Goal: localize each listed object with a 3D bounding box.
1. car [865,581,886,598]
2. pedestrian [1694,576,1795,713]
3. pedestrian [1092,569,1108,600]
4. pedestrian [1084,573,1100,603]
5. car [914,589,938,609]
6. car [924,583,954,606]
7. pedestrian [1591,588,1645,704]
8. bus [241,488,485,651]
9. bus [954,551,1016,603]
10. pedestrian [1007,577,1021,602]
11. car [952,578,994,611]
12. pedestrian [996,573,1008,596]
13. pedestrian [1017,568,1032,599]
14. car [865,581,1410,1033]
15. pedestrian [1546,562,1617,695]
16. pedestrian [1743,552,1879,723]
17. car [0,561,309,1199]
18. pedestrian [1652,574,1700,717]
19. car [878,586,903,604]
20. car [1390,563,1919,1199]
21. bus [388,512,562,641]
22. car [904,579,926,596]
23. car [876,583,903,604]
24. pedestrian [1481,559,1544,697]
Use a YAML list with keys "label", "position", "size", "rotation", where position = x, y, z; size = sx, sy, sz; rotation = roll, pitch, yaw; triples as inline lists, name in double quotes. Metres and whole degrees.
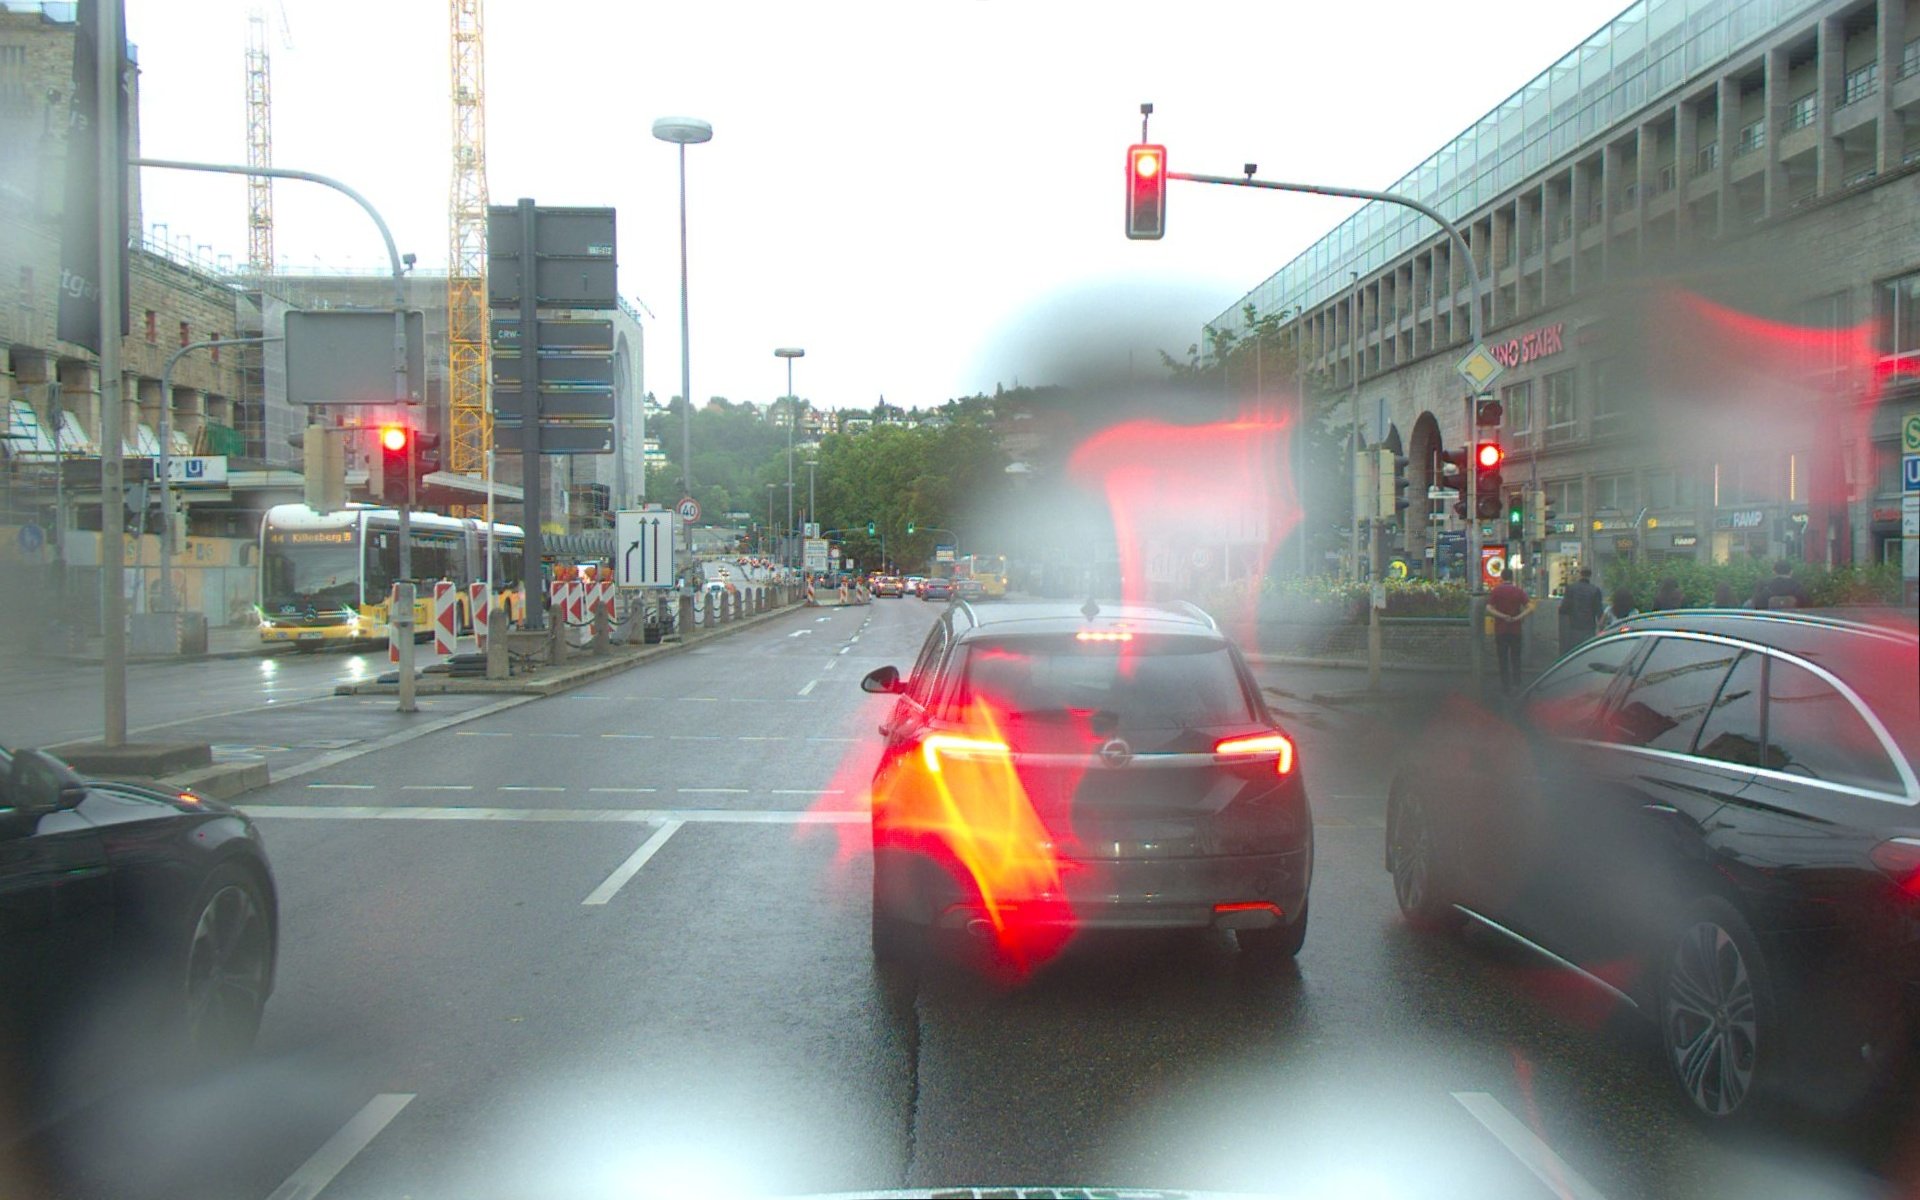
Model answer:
- label: "car"
  position: [-7.664, -0.933, 149.848]
  size: [1.723, 1.422, 3.563]
  rotation: [1, 0, -1]
- label: "pedestrian"
  position: [9.743, 0.541, 20.559]
  size: [0.778, 1.654, 0.899]
  rotation: [1, 0, -4]
- label: "pedestrian"
  position: [8.009, -0.877, 94.376]
  size: [0.748, 1.720, 0.824]
  rotation: [1, 0, -5]
- label: "pedestrian"
  position: [7.612, -0.703, 95.469]
  size: [0.748, 1.720, 0.824]
  rotation: [1, 0, -5]
- label: "car"
  position: [-2.572, -0.072, 123.215]
  size: [1.718, 1.422, 4.400]
  rotation: [1, 0, -2]
- label: "car"
  position: [-1.372, -0.354, 106.894]
  size: [1.718, 1.422, 4.645]
  rotation: [1, 0, -3]
- label: "pedestrian"
  position: [8.481, 0.585, 21.340]
  size: [0.617, 1.452, 0.490]
  rotation: [1, 0, 21]
- label: "bus"
  position: [-14.994, -0.686, 42.598]
  size: [2.614, 3.665, 10.237]
  rotation: [1, 0, -1]
- label: "bus"
  position: [1.704, -1.574, 120.913]
  size: [4.089, 3.529, 14.651]
  rotation: [1, 0, -1]
- label: "pedestrian"
  position: [4.798, -0.905, 146.425]
  size: [1.174, 2.186, 1.228]
  rotation: [1, 0, 0]
- label: "car"
  position: [0.581, -0.251, 75.728]
  size: [1.808, 1.422, 3.666]
  rotation: [1, 0, -1]
- label: "pedestrian"
  position: [3.990, -1.491, 157.281]
  size: [1.174, 2.186, 1.228]
  rotation: [1, 0, 0]
- label: "pedestrian"
  position: [5.175, -1.341, 133.053]
  size: [1.174, 2.478, 1.228]
  rotation: [1, 0, 0]
- label: "car"
  position: [0.566, 0.710, 7.631]
  size: [1.837, 1.512, 3.999]
  rotation: [1, 0, -1]
- label: "pedestrian"
  position: [8.311, 0.382, 22.140]
  size: [0.740, 1.747, 0.466]
  rotation: [1, 0, -5]
- label: "pedestrian"
  position: [9.193, 0.397, 17.885]
  size: [1.074, 1.782, 0.653]
  rotation: [-2, 0, -4]
- label: "car"
  position: [-2.987, 0.645, 3.013]
  size: [1.817, 1.495, 4.586]
  rotation: [1, 0, -1]
- label: "pedestrian"
  position: [9.126, 0.572, 21.072]
  size: [0.472, 1.782, 0.665]
  rotation: [-2, 0, 27]
- label: "car"
  position: [-5.579, -0.386, 133.050]
  size: [1.808, 1.422, 3.563]
  rotation: [1, 0, -1]
- label: "car"
  position: [2.990, 0.700, 5.774]
  size: [1.757, 1.528, 4.628]
  rotation: [1, 0, 0]
- label: "bus"
  position: [-15.229, -0.679, 52.850]
  size: [2.614, 3.665, 10.209]
  rotation: [1, 0, -1]
- label: "car"
  position: [-3.872, -1.035, 141.764]
  size: [1.808, 1.422, 3.563]
  rotation: [1, 0, -1]
- label: "car"
  position: [-4.969, -0.442, 116.714]
  size: [1.808, 1.422, 3.563]
  rotation: [1, 0, -1]
- label: "pedestrian"
  position: [7.294, 0.362, 21.829]
  size: [0.560, 1.783, 0.676]
  rotation: [1, 0, 42]
